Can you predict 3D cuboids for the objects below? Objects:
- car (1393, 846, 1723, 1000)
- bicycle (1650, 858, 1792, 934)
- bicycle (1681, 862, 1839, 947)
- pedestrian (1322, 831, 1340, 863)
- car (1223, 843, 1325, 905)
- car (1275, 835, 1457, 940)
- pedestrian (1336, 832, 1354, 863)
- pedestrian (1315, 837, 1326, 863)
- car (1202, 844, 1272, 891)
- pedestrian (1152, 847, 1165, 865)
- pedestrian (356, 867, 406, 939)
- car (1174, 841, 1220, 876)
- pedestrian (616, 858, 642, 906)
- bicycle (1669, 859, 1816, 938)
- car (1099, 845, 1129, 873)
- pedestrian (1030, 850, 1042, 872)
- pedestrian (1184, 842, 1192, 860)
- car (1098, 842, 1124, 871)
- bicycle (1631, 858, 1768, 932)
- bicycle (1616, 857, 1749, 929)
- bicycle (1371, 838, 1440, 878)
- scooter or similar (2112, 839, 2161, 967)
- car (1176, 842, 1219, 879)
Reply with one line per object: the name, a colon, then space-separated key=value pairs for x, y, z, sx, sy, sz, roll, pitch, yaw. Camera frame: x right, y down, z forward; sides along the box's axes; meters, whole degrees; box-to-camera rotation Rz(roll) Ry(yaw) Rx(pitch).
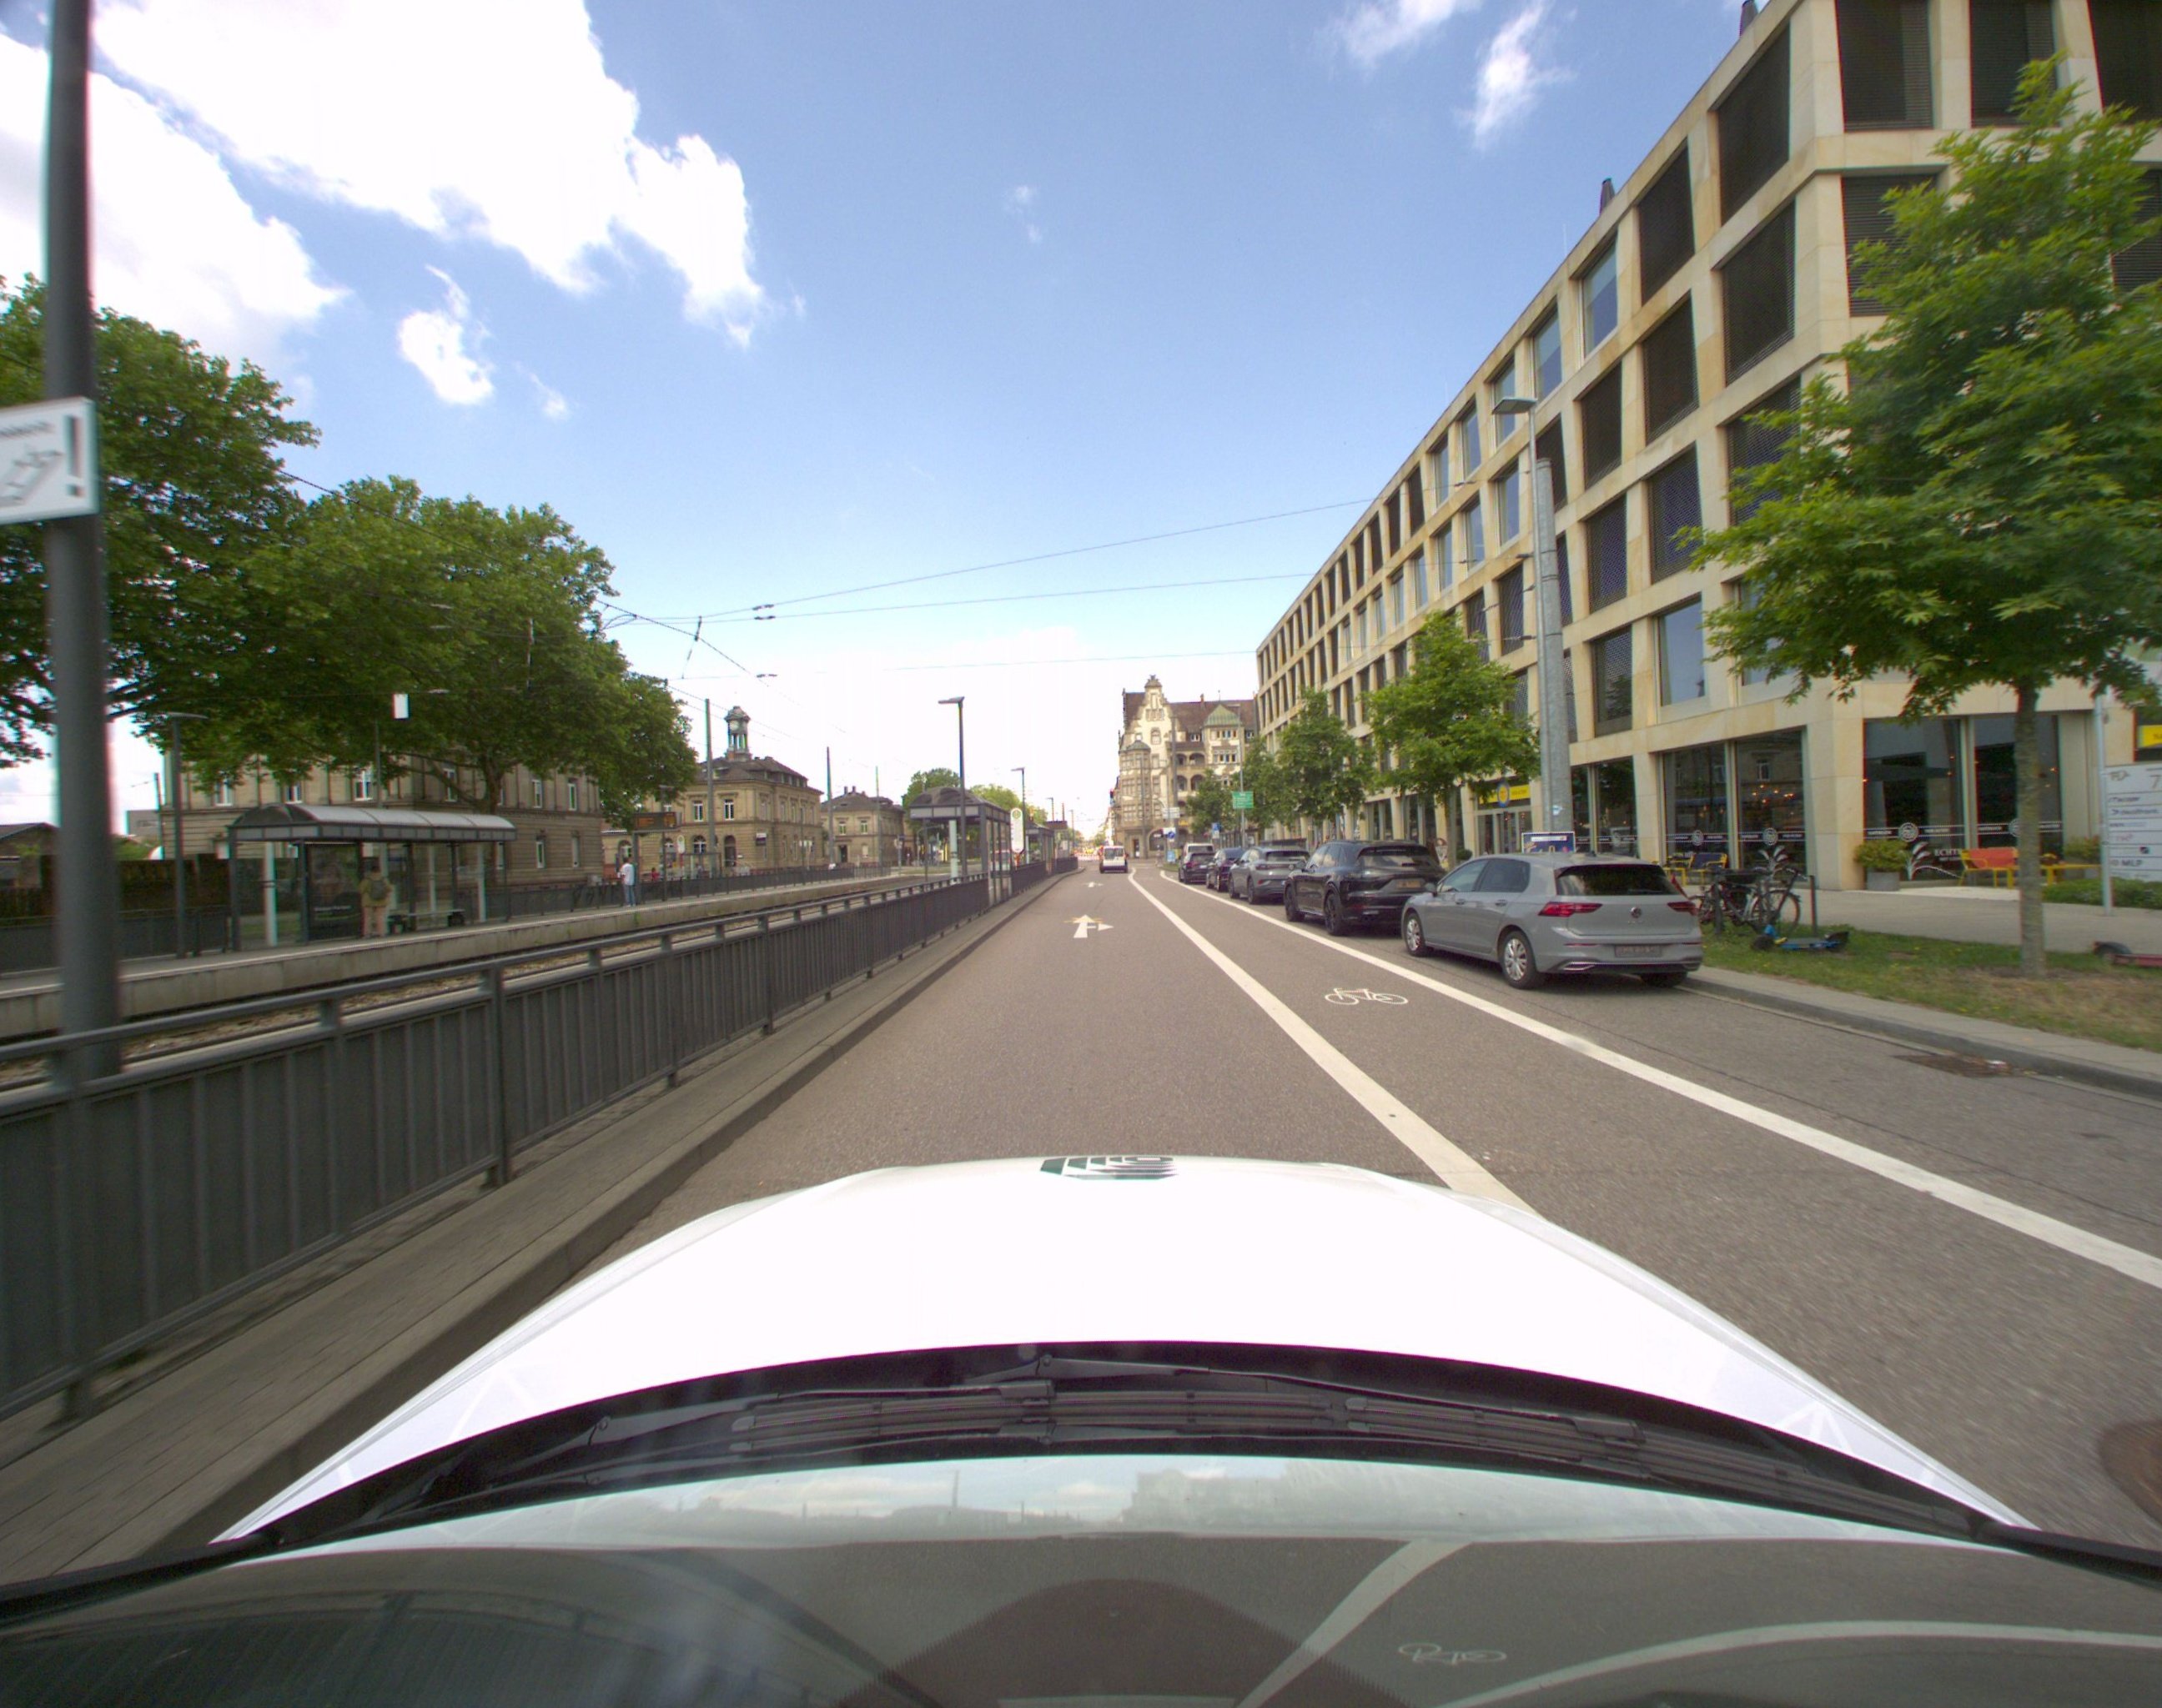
car: x=5.374 y=0.641 z=9.874 sx=1.586 sy=1.434 sz=4.106 roll=-1 pitch=1 yaw=-1
bicycle: x=9.227 y=0.598 z=11.752 sx=1.747 sy=0.986 sz=0.326 roll=-3 pitch=0 yaw=0
bicycle: x=8.861 y=0.652 z=10.643 sx=1.747 sy=0.986 sz=0.326 roll=-3 pitch=0 yaw=0
pedestrian: x=13.971 y=-0.393 z=45.498 sx=0.757 sy=1.723 sz=0.659 roll=-3 pitch=0 yaw=0
car: x=5.463 y=0.478 z=23.702 sx=1.801 sy=1.591 sz=4.840 roll=-1 pitch=1 yaw=-1
car: x=5.162 y=0.502 z=15.512 sx=1.733 sy=1.669 sz=4.840 roll=-1 pitch=1 yaw=0
pedestrian: x=14.738 y=-0.375 z=45.498 sx=0.757 sy=1.670 sz=0.659 roll=-3 pitch=0 yaw=0
pedestrian: x=13.370 y=-0.226 z=45.490 sx=0.437 sy=1.448 sz=0.434 roll=-3 pitch=0 yaw=0
car: x=5.717 y=0.457 z=30.297 sx=1.801 sy=1.591 sz=4.306 roll=-1 pitch=1 yaw=0
pedestrian: x=6.921 y=0.178 z=72.742 sx=0.807 sy=1.572 sz=0.626 roll=-4 pitch=0 yaw=-15
pedestrian: x=-15.900 y=1.097 z=18.508 sx=0.498 sy=1.558 sz=0.643 roll=-3 pitch=0 yaw=1
car: x=5.151 y=0.178 z=36.500 sx=1.438 sy=1.470 sz=4.091 roll=-1 pitch=1 yaw=0
pedestrian: x=-16.427 y=1.018 z=29.584 sx=0.498 sy=1.683 sz=0.643 roll=-3 pitch=0 yaw=1
bicycle: x=9.257 y=0.617 z=11.410 sx=1.747 sy=0.986 sz=0.326 roll=-3 pitch=0 yaw=0
car: x=2.200 y=0.309 z=55.130 sx=1.862 sy=1.746 sz=4.001 roll=-1 pitch=1 yaw=1
pedestrian: x=-2.462 y=0.387 z=44.683 sx=0.511 sy=1.140 sz=0.501 roll=-4 pitch=0 yaw=1
pedestrian: x=9.749 y=-0.288 z=74.383 sx=0.532 sy=1.572 sz=0.542 roll=-4 pitch=0 yaw=-1
car: x=2.210 y=0.171 z=61.295 sx=1.862 sy=2.020 sz=4.001 roll=-1 pitch=1 yaw=1
bicycle: x=9.185 y=0.600 z=12.112 sx=1.747 sy=0.986 sz=0.326 roll=-3 pitch=0 yaw=0
bicycle: x=9.189 y=0.588 z=12.460 sx=1.747 sy=0.986 sz=0.326 roll=-3 pitch=0 yaw=0
bicycle: x=9.472 y=0.111 z=23.786 sx=1.833 sy=1.030 sz=0.340 roll=-4 pitch=0 yaw=-1
scooter or similar: x=10.415 y=0.467 z=7.607 sx=0.257 sy=1.215 sz=1.015 roll=-3 pitch=0 yaw=1
car: x=5.874 y=0.294 z=41.326 sx=1.704 sy=1.796 sz=3.361 roll=-1 pitch=1 yaw=-1
